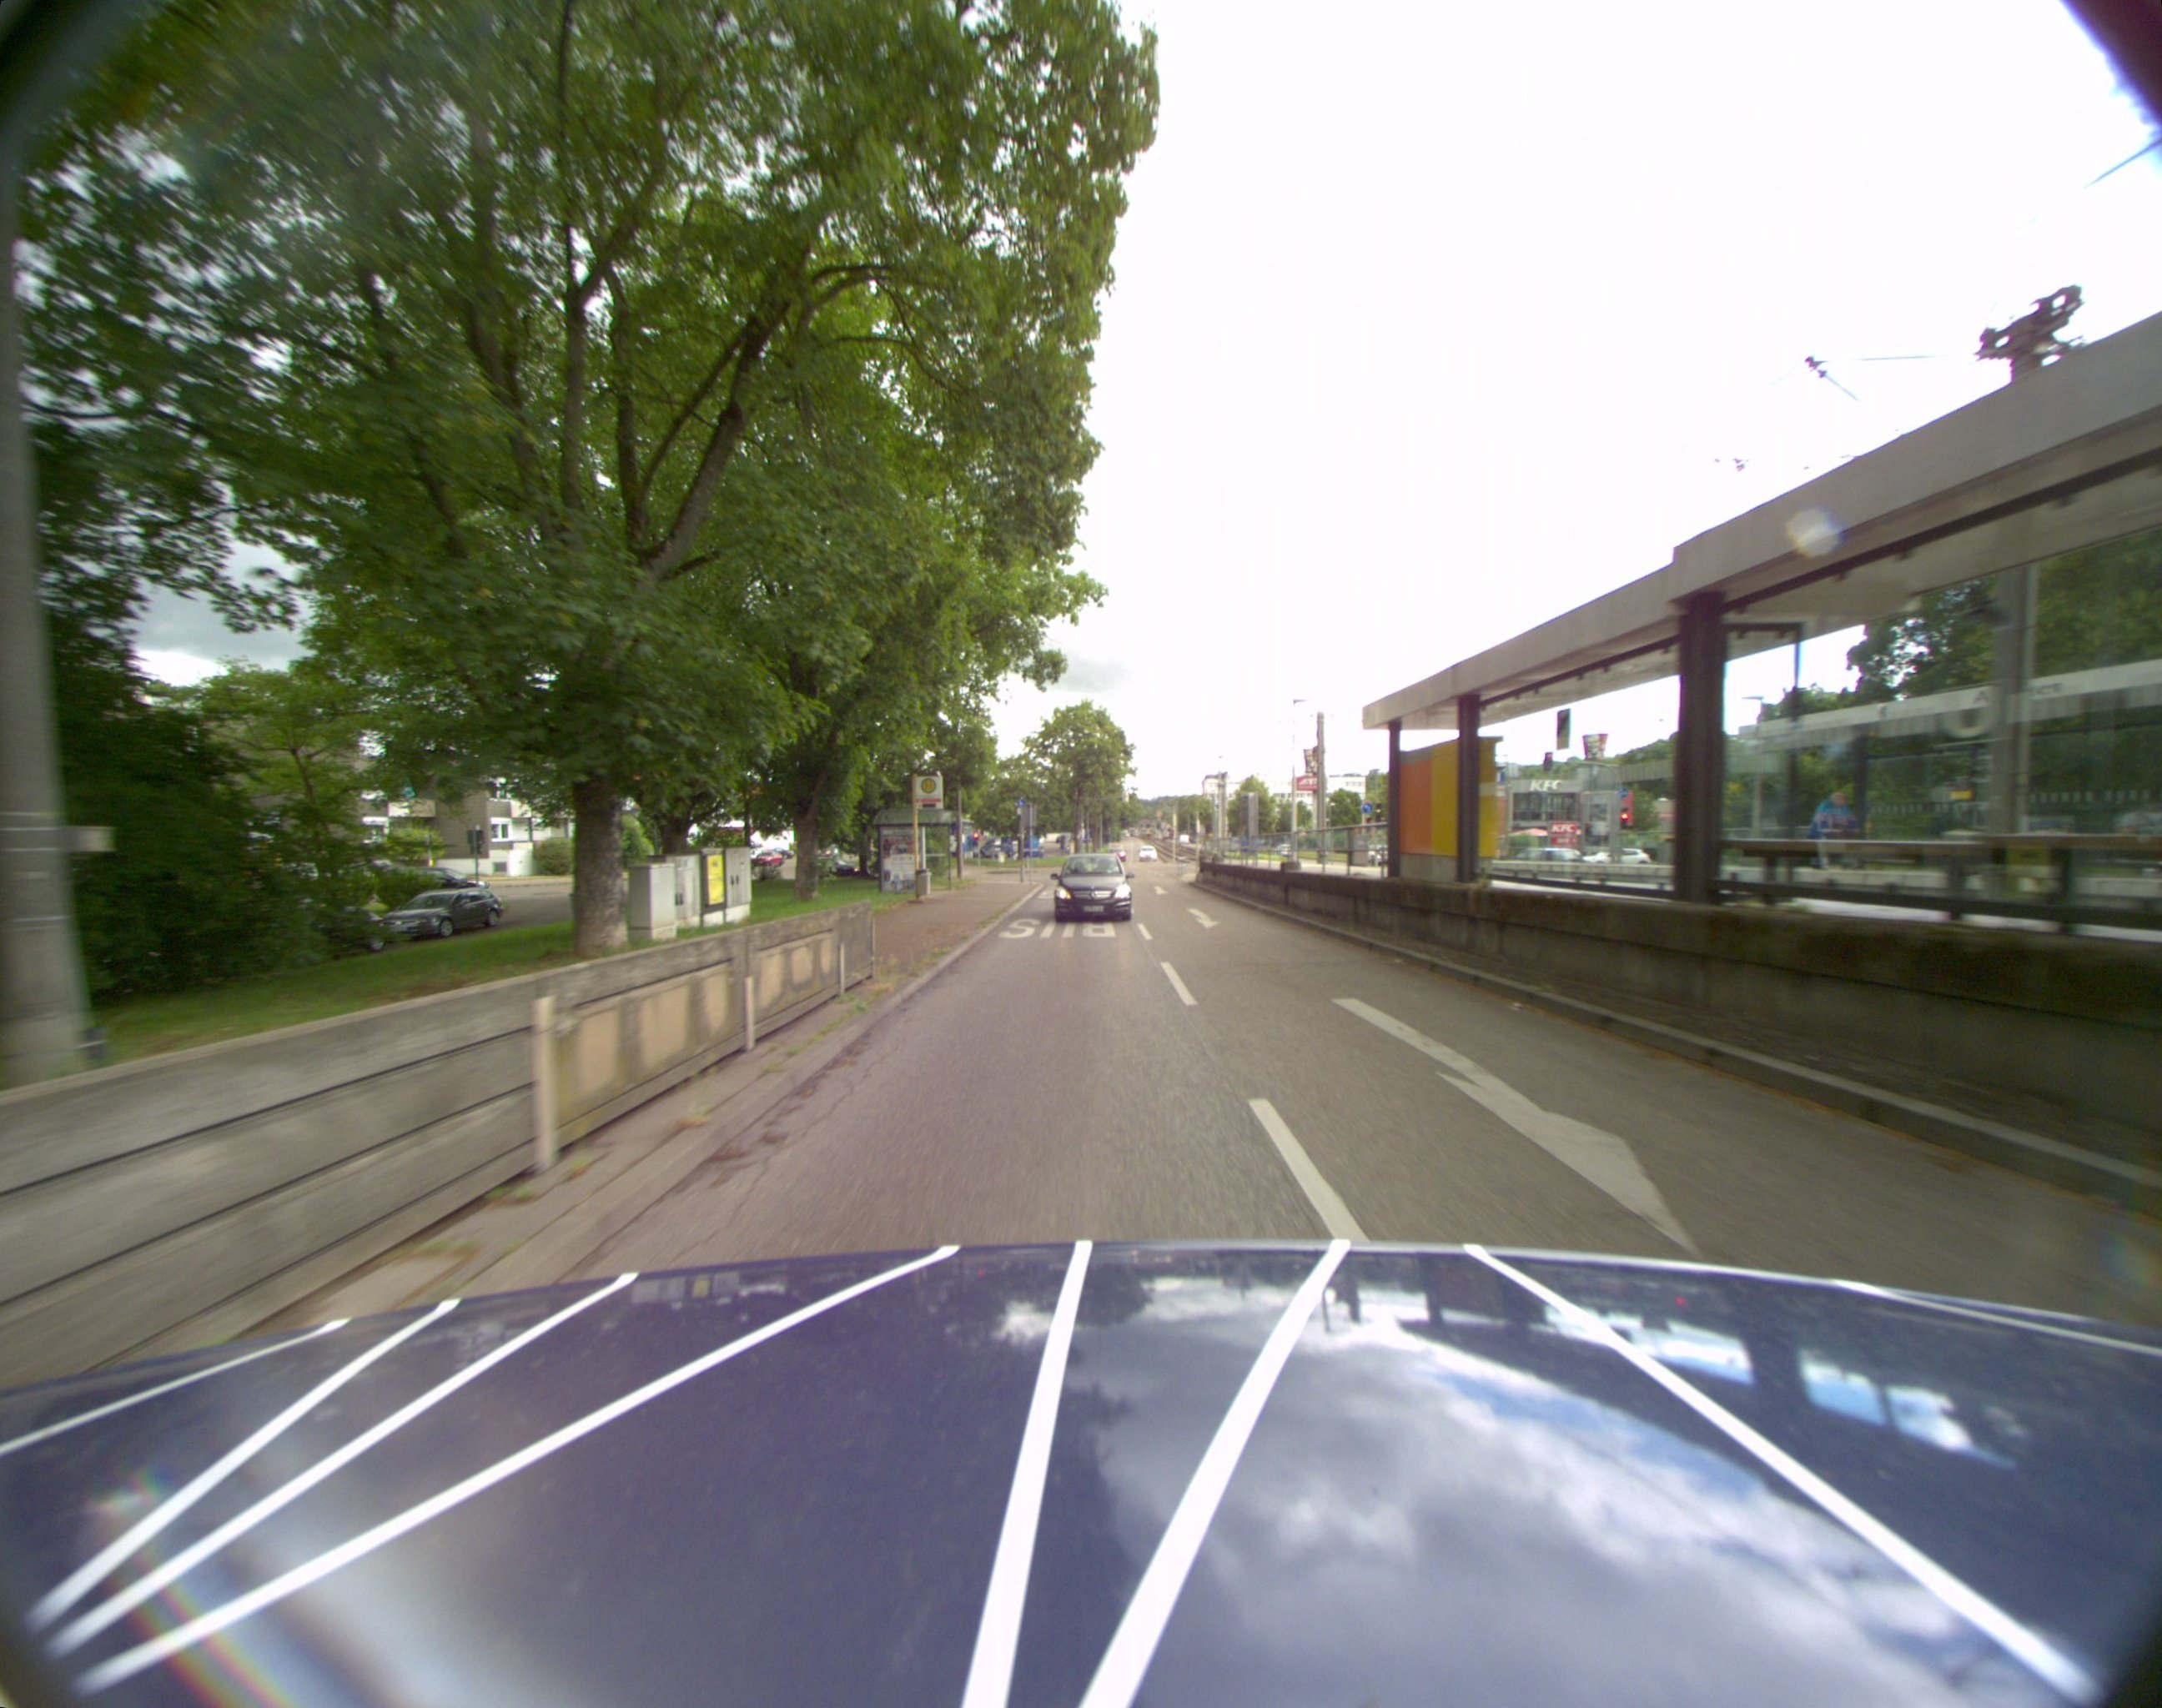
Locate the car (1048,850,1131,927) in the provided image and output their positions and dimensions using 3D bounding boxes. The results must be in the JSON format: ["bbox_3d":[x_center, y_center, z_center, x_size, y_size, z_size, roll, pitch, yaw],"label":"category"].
[{"bbox_3d":[0.316,0.761,18.761,1.786,1.614,4.000,-2,1,4],"label":"car"}]

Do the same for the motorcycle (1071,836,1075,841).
[{"bbox_3d":[-1.805,-3.451,166.798,0.704,1.180,2.387,0,2,-2],"label":"motorcycle"}]

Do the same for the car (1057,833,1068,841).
[{"bbox_3d":[-4.268,-3.861,172.366,1.998,1.630,4.326,2,2,4],"label":"car"}]

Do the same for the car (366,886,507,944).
[{"bbox_3d":[-21.908,1.996,26.087,1.665,1.453,4.284,-3,2,-10],"label":"car"}]

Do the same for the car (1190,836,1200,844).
[{"bbox_3d":[27.668,-3.417,184.528,1.999,2.002,4.105,0,2,0],"label":"car"}]

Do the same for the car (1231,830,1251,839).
[{"bbox_3d":[36.097,-4.460,171.472,4.354,1.908,2.000,-2,2,7],"label":"car"}]

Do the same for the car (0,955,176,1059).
[{"bbox_3d":[-20.123,2.952,14.467,1.483,1.378,3.836,-3,2,-9],"label":"car"}]

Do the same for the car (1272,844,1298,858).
[{"bbox_3d":[23.346,-0.407,86.998,1.690,1.438,3.998,1,2,-2],"label":"car"}]

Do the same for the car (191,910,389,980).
[{"bbox_3d":[-20.992,2.355,20.415,1.627,1.239,3.853,-3,2,-10],"label":"car"}]

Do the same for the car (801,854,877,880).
[{"bbox_3d":[-15.116,0.779,47.498,4.159,1.517,1.705,0,2,9],"label":"car"}]

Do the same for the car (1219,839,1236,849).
[{"bbox_3d":[24.570,-1.674,127.564,1.999,1.473,4.505,2,1,0],"label":"car"}]

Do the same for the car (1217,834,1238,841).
[{"bbox_3d":[34.669,-3.859,179.929,4.610,1.484,2.000,-2,2,7],"label":"car"}]

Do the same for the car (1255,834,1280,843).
[{"bbox_3d":[37.285,-3.120,151.842,4.481,1.498,1.795,-3,2,1],"label":"car"}]

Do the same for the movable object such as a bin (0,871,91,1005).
[{"bbox_3d":[-22.399,1.804,13.394,2.000,2.609,6.266,-3,2,-7],"label":"movable object such as a bin"}]

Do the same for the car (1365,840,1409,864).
[{"bbox_3d":[24.289,-0.163,60.460,1.714,1.741,4.398,0,2,1],"label":"car"}]

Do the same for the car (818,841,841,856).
[{"bbox_3d":[-31.825,-0.733,96.301,1.948,1.832,4.247,-3,2,-9],"label":"car"}]

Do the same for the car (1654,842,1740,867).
[{"bbox_3d":[39.865,0.004,49.211,3.996,1.543,1.847,0,2,2],"label":"car"}]

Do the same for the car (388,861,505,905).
[{"bbox_3d":[-30.511,1.360,36.729,4.006,1.756,1.995,-4,2,-32],"label":"car"}]

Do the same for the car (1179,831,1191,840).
[{"bbox_3d":[24.205,-4.348,177.158,1.999,2.002,4.883,0,2,-2],"label":"car"}]

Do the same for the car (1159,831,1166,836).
[{"bbox_3d":[27.862,-6.975,259.881,1.788,1.573,4.479,1,2,-2],"label":"car"}]

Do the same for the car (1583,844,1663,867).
[{"bbox_3d":[35.538,0.069,49.918,3.884,1.400,1.848,0,2,12],"label":"car"}]

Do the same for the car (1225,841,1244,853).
[{"bbox_3d":[20.871,-0.967,103.461,1.599,1.438,4.051,1,2,-3],"label":"car"}]

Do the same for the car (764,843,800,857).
[{"bbox_3d":[-35.978,-0.513,91.567,3.555,1.449,1.775,-3,2,4],"label":"car"}]

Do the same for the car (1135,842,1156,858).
[{"bbox_3d":[6.478,-0.383,76.311,1.786,1.436,3.999,-3,2,2],"label":"car"}]

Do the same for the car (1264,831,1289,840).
[{"bbox_3d":[35.250,-3.369,137.258,3.996,1.498,2.002,-3,2,3],"label":"car"}]

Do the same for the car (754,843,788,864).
[{"bbox_3d":[-30.153,-0.042,73.979,1.620,1.832,3.922,-3,2,1],"label":"car"}]

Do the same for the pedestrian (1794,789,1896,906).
[{"bbox_3d":[14.757,-0.130,14.709,0.972,2.173,0.976,-1,2,2],"label":"pedestrian"}]

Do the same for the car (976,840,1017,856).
[{"bbox_3d":[-9.396,-0.654,84.370,4.215,1.688,1.837,0,1,-16],"label":"car"}]
